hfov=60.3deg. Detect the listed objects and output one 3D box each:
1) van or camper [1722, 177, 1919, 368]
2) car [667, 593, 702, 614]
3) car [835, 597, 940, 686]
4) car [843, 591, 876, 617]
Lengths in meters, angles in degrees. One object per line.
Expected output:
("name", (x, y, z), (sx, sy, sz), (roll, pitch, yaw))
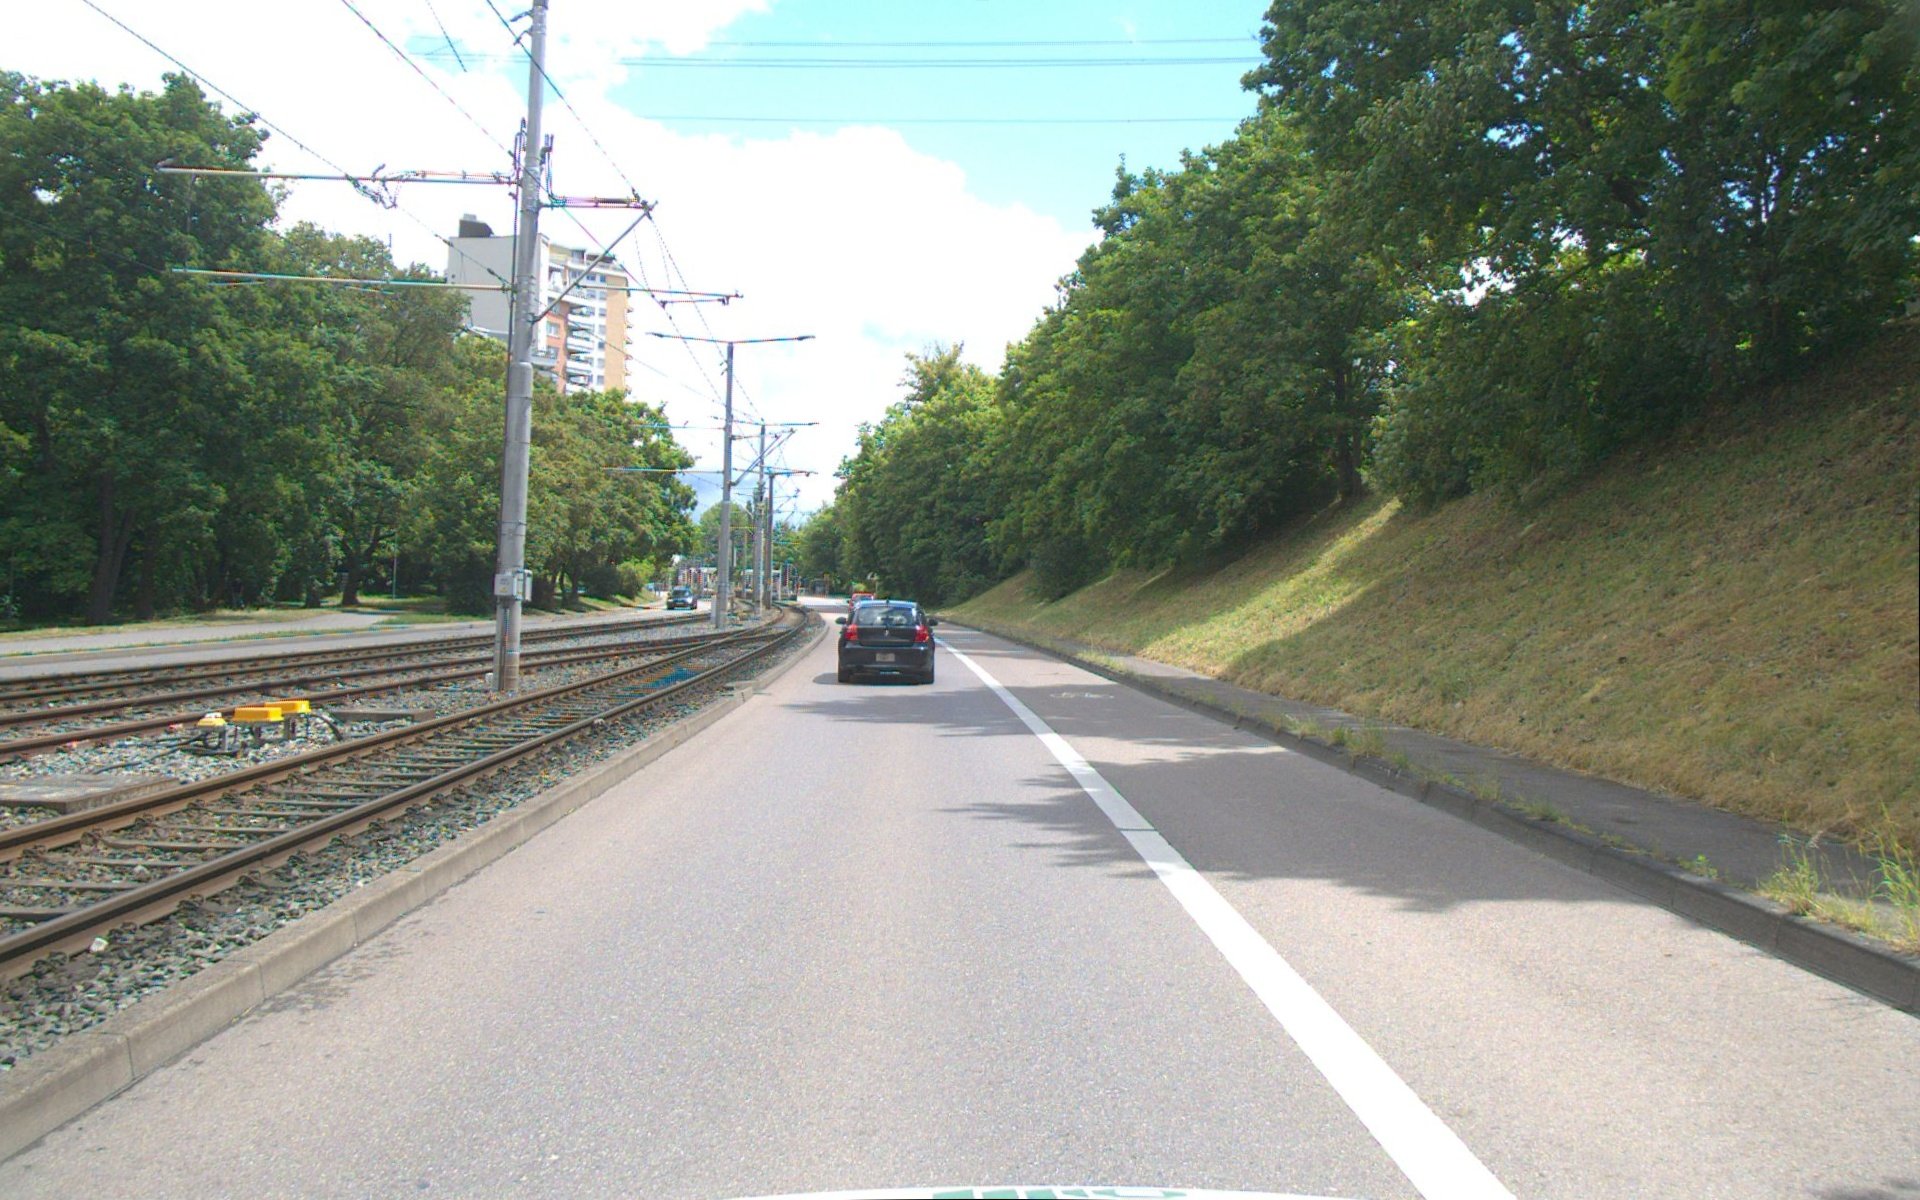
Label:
("van or camper", (15.659, -5.453, 28.118), (2.173, 2.106, 6.156), (1, 0, -5))
("car", (-19.451, 0.207, 116.897), (1.799, 1.415, 4.859), (-1, 0, -3))
("car", (-1.368, 0.688, 29.748), (1.746, 1.485, 3.917), (0, 0, -5))
("car", (-5.956, 0.255, 97.938), (1.747, 1.485, 3.916), (1, 0, -6))
